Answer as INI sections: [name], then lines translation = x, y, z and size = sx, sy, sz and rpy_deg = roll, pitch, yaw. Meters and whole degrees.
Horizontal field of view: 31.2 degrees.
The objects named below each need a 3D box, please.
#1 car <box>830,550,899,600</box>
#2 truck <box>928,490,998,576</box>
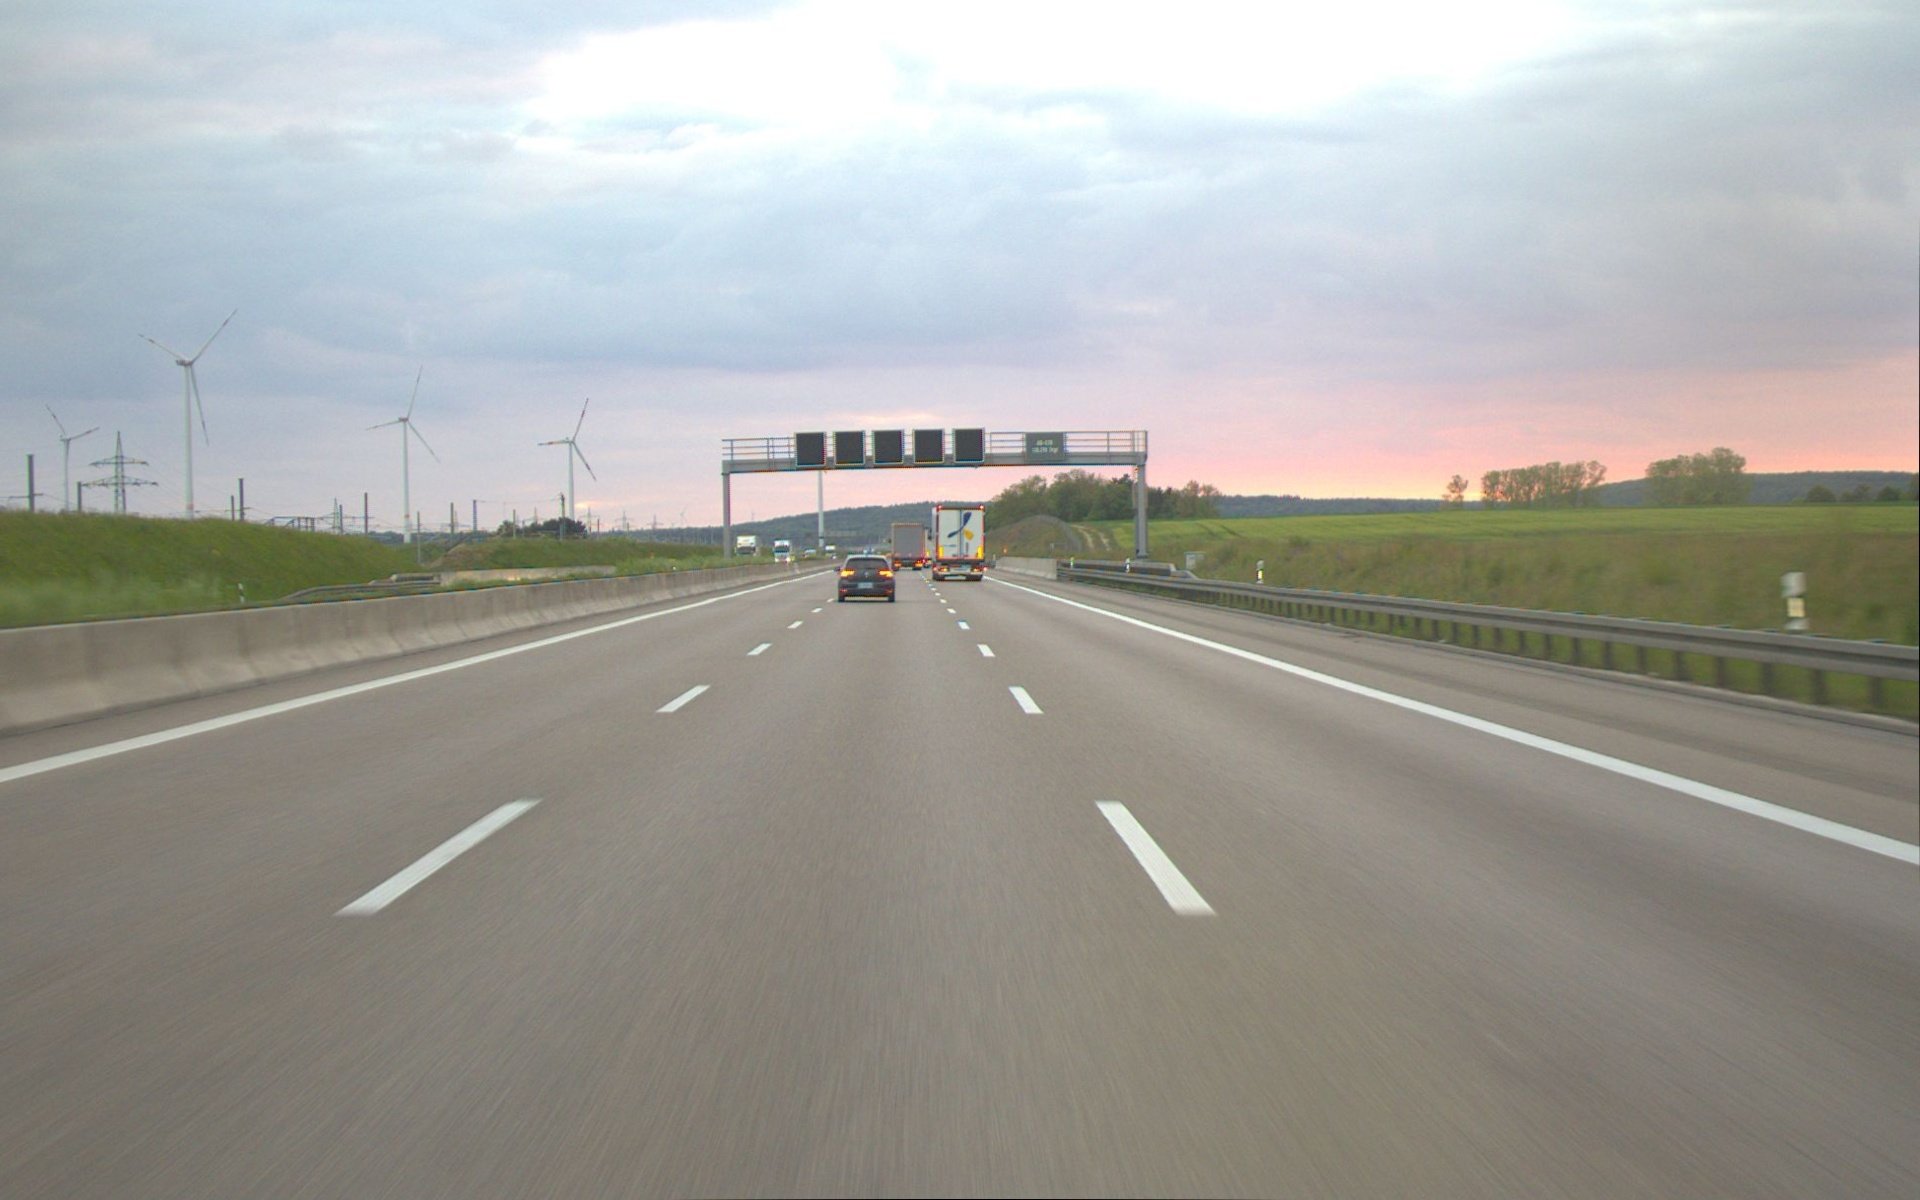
[car]
translation = -2.891, -0.778, 104.933
size = 1.987, 1.425, 4.000
rpy_deg = 0, 1, 0
[truck]
translation = 0.097, -3.636, 187.858
size = 3.675, 4.549, 10.982
rpy_deg = 0, 1, -1
